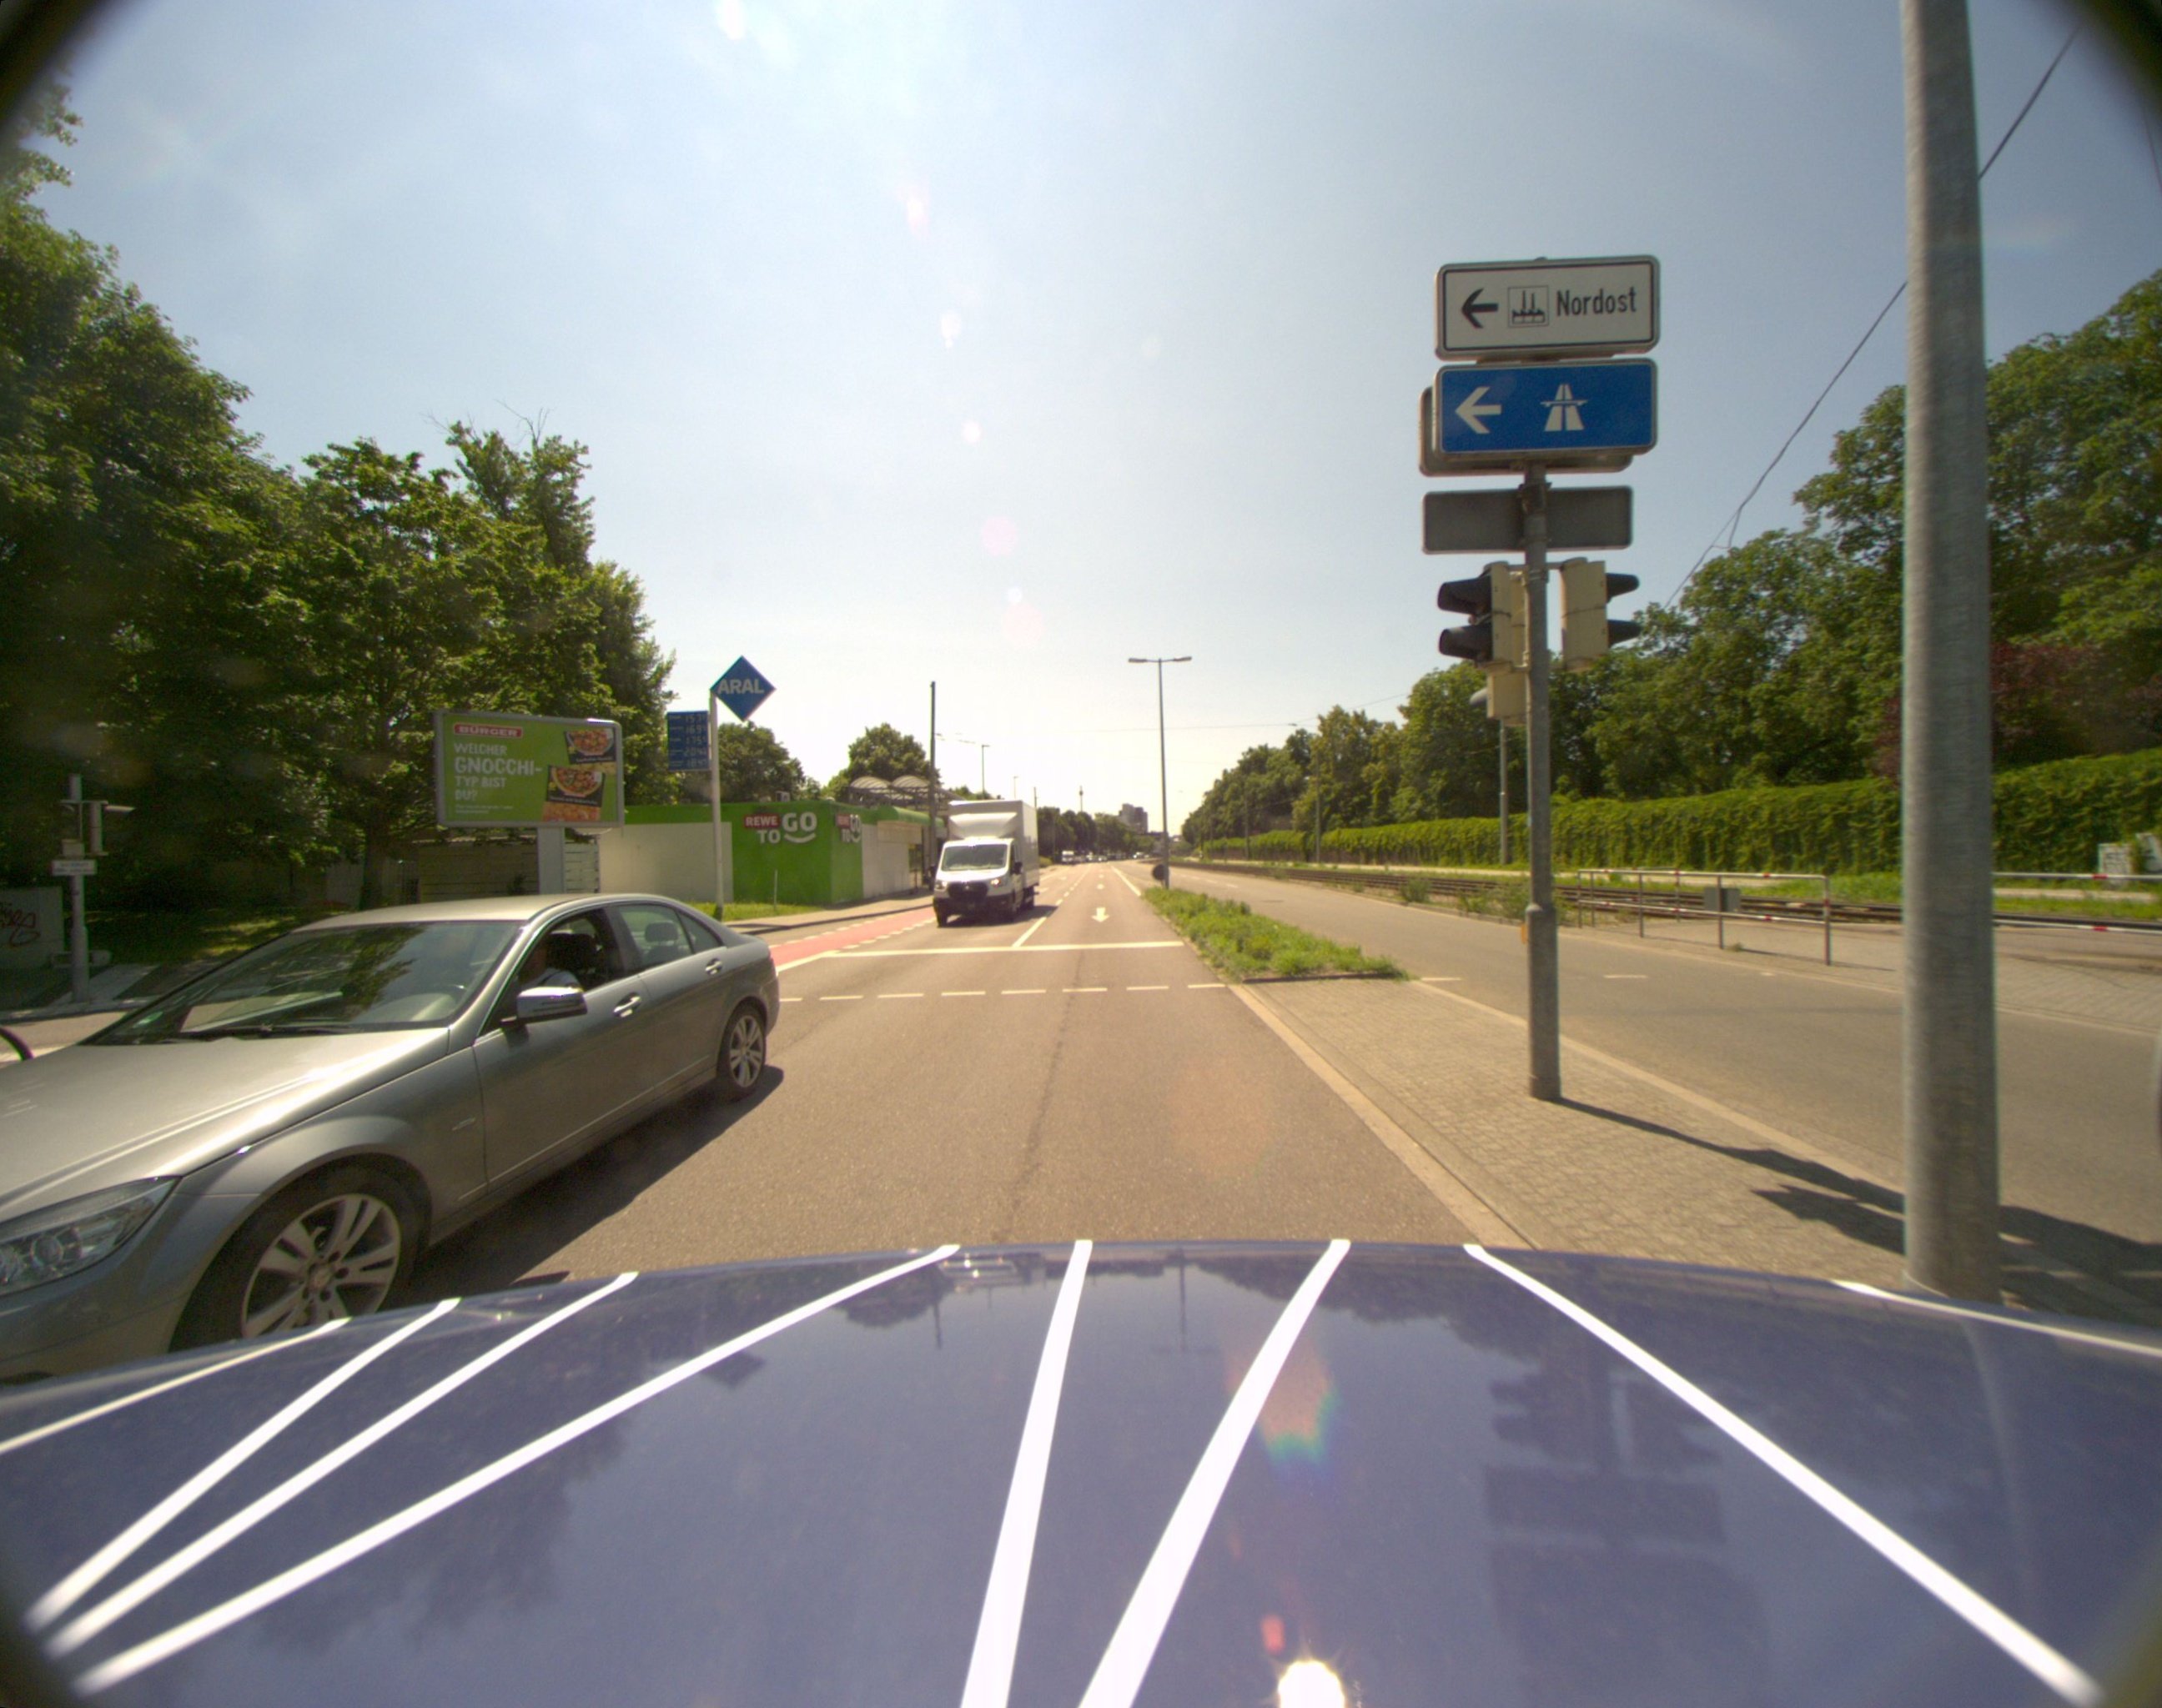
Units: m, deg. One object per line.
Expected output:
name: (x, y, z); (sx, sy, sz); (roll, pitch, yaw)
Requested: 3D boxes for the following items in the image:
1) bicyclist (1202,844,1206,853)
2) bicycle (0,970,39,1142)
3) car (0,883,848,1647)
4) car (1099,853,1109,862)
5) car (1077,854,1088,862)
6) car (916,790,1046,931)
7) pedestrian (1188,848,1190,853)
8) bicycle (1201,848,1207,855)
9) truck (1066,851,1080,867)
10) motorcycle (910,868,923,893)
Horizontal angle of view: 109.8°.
bicyclist: (20.688, -0.937, 128.159); (0.483, 1.603, 0.769); (-3, 1, 3)
bicycle: (-8.179, 1.403, 4.913); (1.870, 1.118, 0.895); (-3, 1, 9)
car: (-3.113, 1.040, 4.151); (1.717, 1.464, 5.302); (-4, 0, 3)
car: (4.845, 0.741, 162.029); (1.947, 1.674, 4.000); (-3, 1, 1)
car: (0.308, 0.774, 159.336); (1.912, 1.488, 4.001); (-3, 1, 5)
car: (-2.624, 0.159, 22.727); (2.229, 3.316, 8.637); (-3, 0, 2)
pedestrian: (34.935, -1.044, 245.134); (0.453, 1.655, 0.302); (-2, 1, 1)
bicycle: (20.708, -0.440, 128.127); (0.617, 1.049, 1.978); (-3, 1, 3)
truck: (-1.401, 0.846, 134.198); (1.998, 2.462, 5.237); (-3, 1, 2)
motorcycle: (-7.744, 1.229, 35.786); (0.253, 1.099, 1.117); (4, 1, 2)
